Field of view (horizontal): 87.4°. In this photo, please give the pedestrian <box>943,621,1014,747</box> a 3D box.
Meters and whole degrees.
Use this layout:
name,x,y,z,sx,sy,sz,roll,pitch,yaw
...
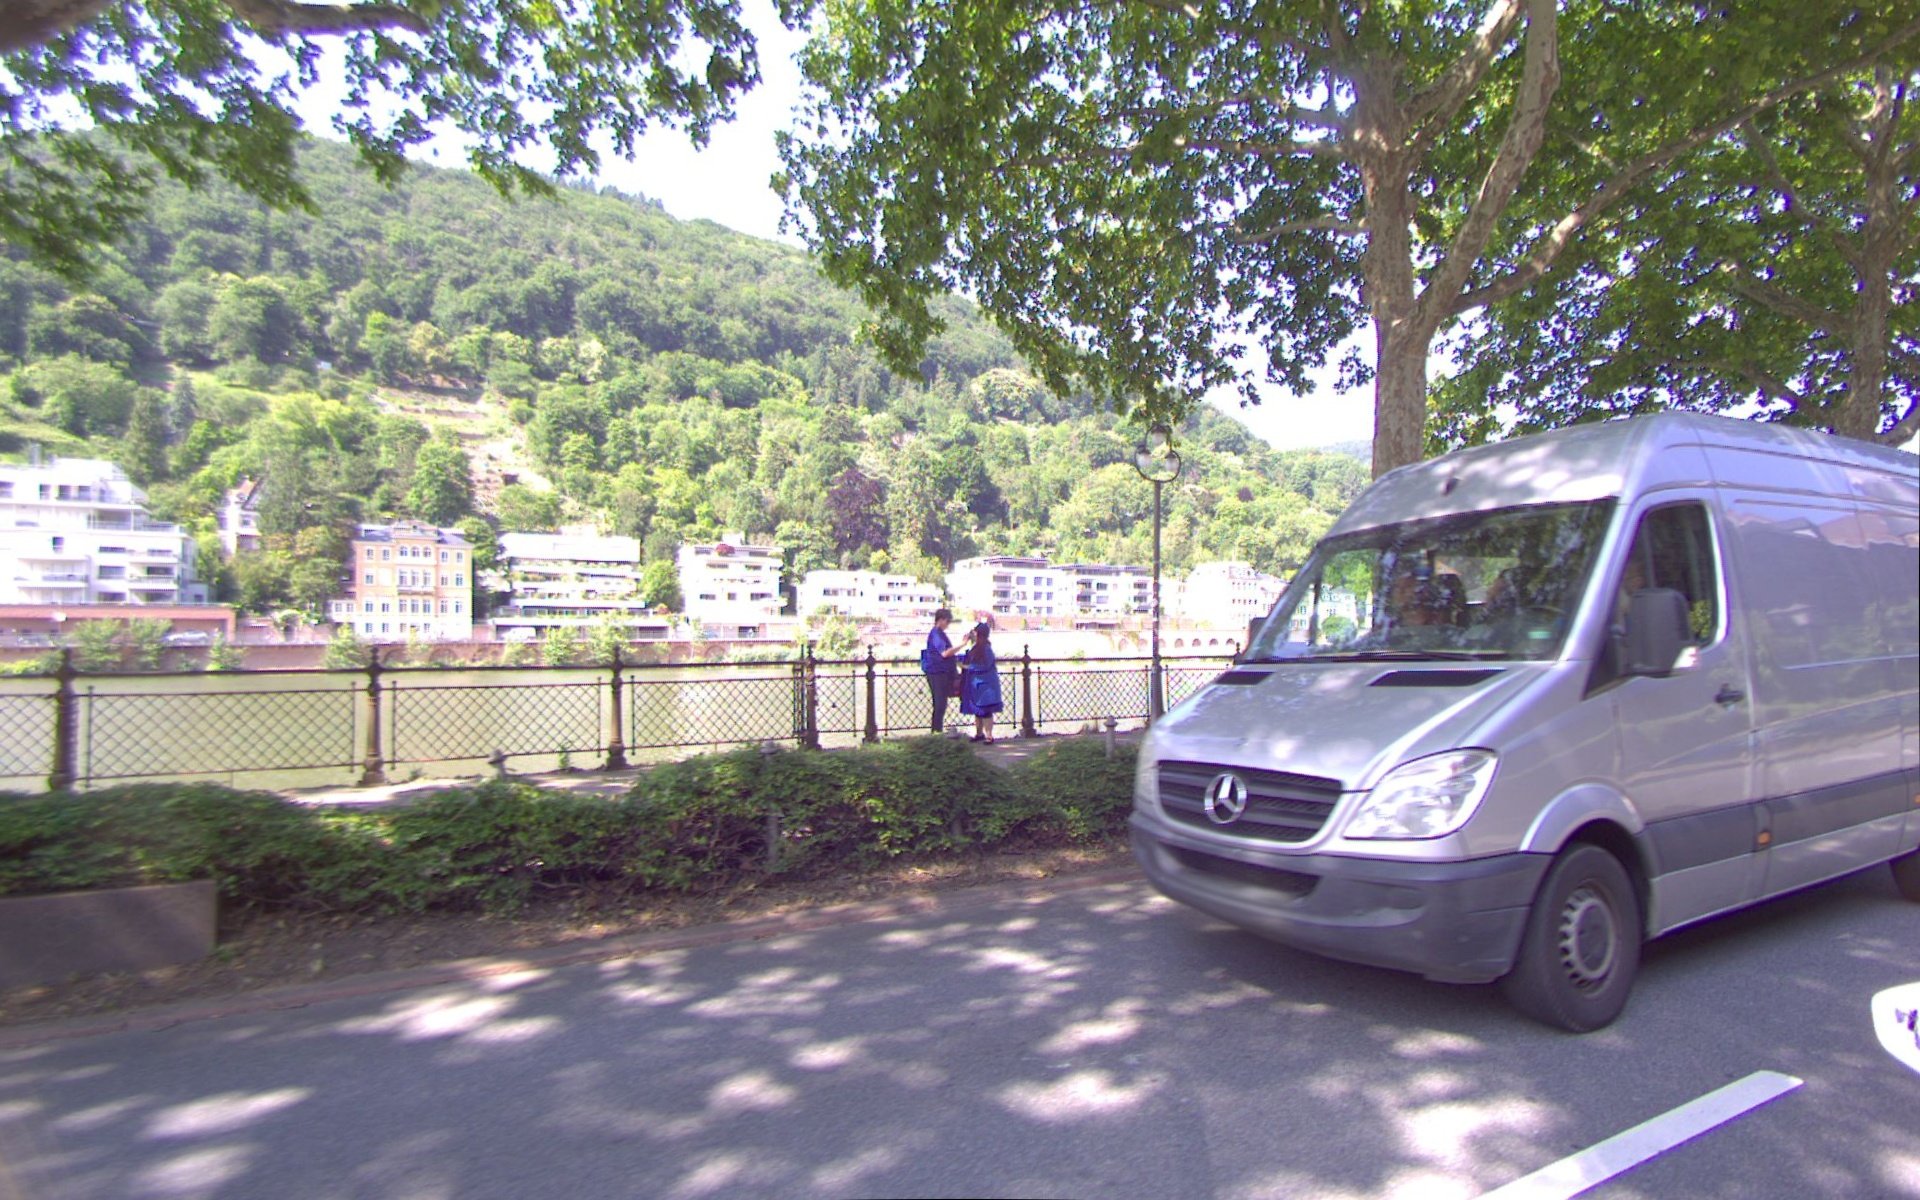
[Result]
name,x,y,z,sx,sy,sz,roll,pitch,yaw
pedestrian,0.242,1.102,13.406,0.696,1.624,0.701,1,-2,-27

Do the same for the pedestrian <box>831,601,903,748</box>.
name,x,y,z,sx,sy,sz,roll,pitch,yaw
pedestrian,-1.200,0.943,12.933,0.696,1.820,0.701,1,-2,-27

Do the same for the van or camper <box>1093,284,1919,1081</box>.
name,x,y,z,sx,sy,sz,roll,pitch,yaw
van or camper,3.657,0.371,5.573,5.771,2.600,1.953,1,-4,-30
